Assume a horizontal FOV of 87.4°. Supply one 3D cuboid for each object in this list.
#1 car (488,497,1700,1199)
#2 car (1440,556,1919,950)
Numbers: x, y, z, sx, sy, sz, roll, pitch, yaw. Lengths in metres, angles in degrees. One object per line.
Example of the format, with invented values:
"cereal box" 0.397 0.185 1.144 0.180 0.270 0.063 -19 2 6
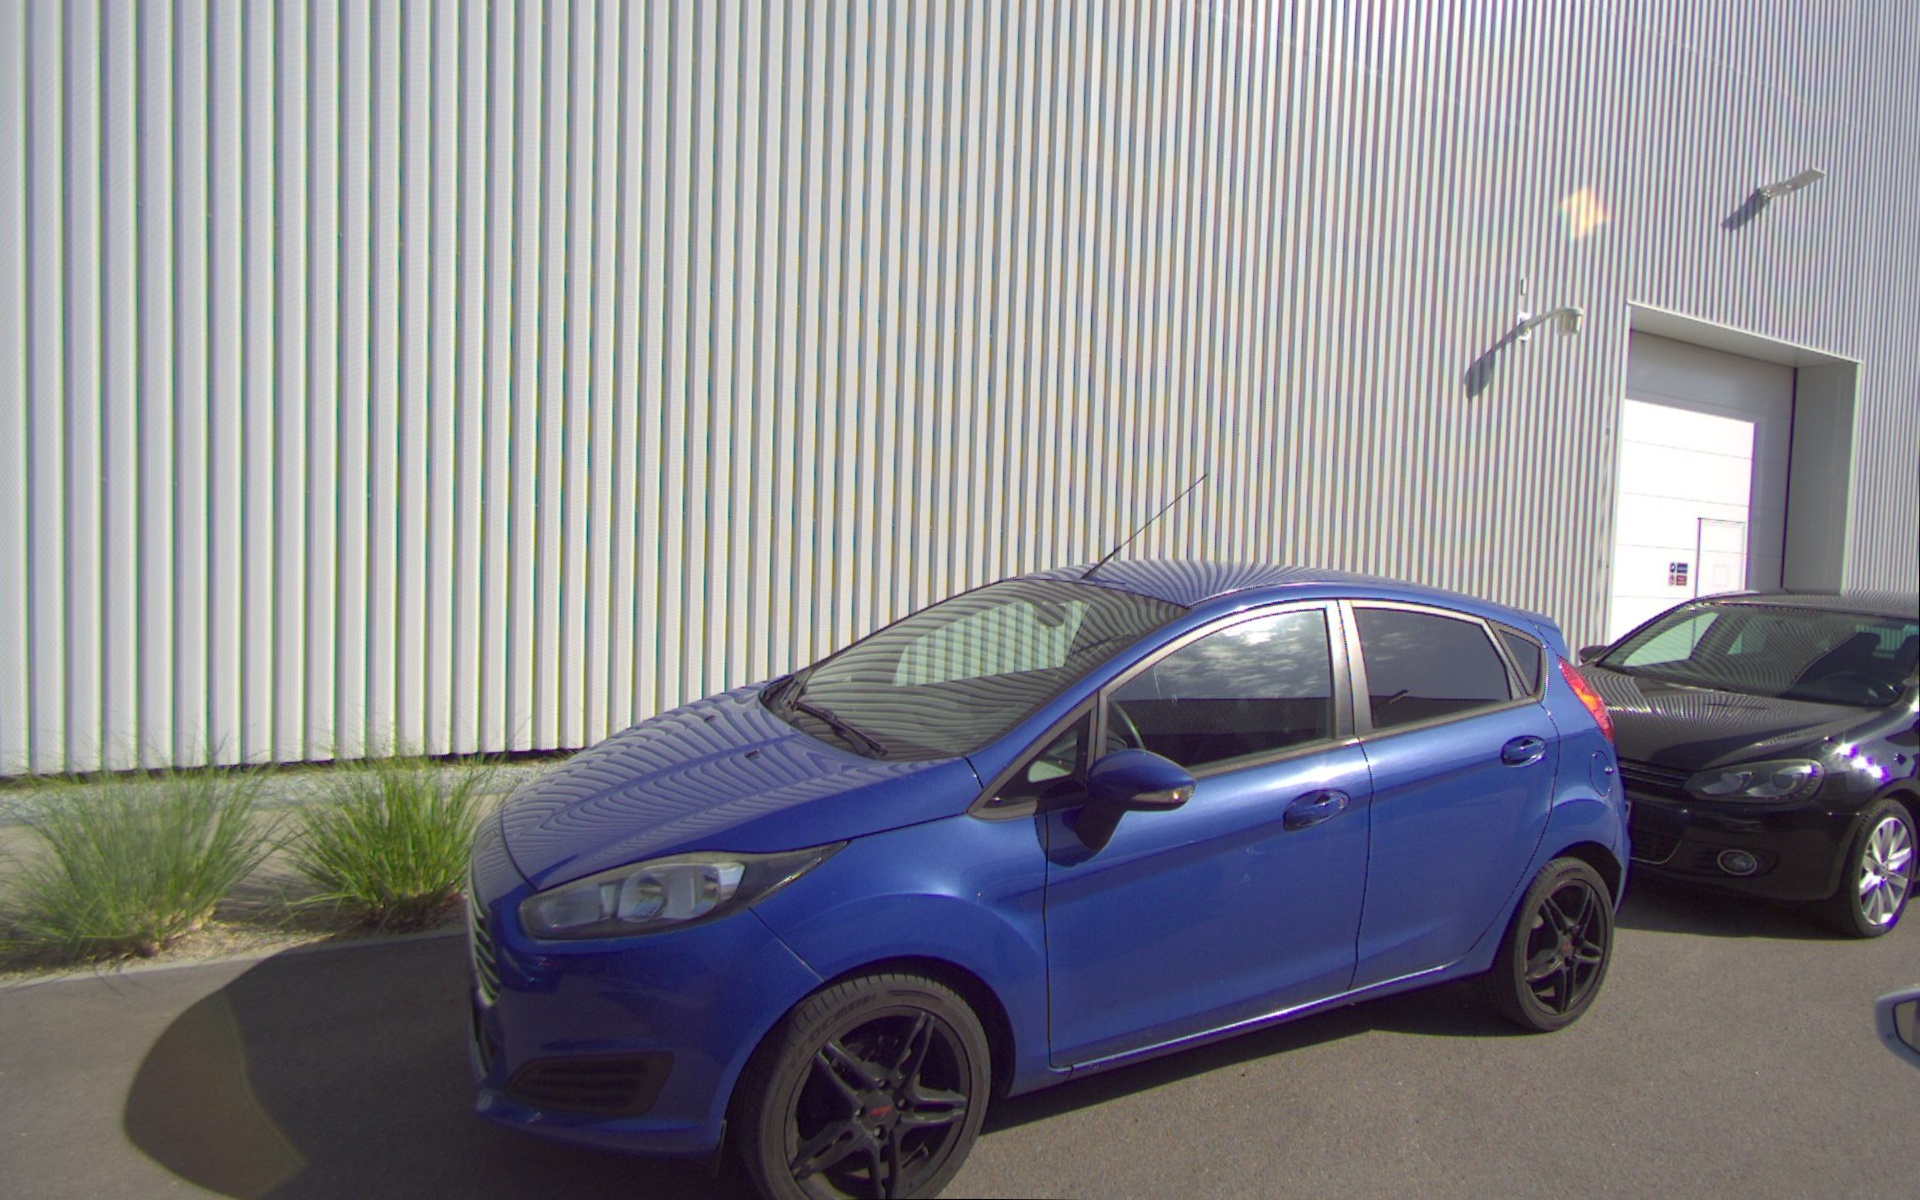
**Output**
"car" 0.521 0.534 3.347 3.717 1.467 1.612 1 4 -28
"car" 4.725 0.631 5.541 3.827 1.466 1.644 2 5 -26
